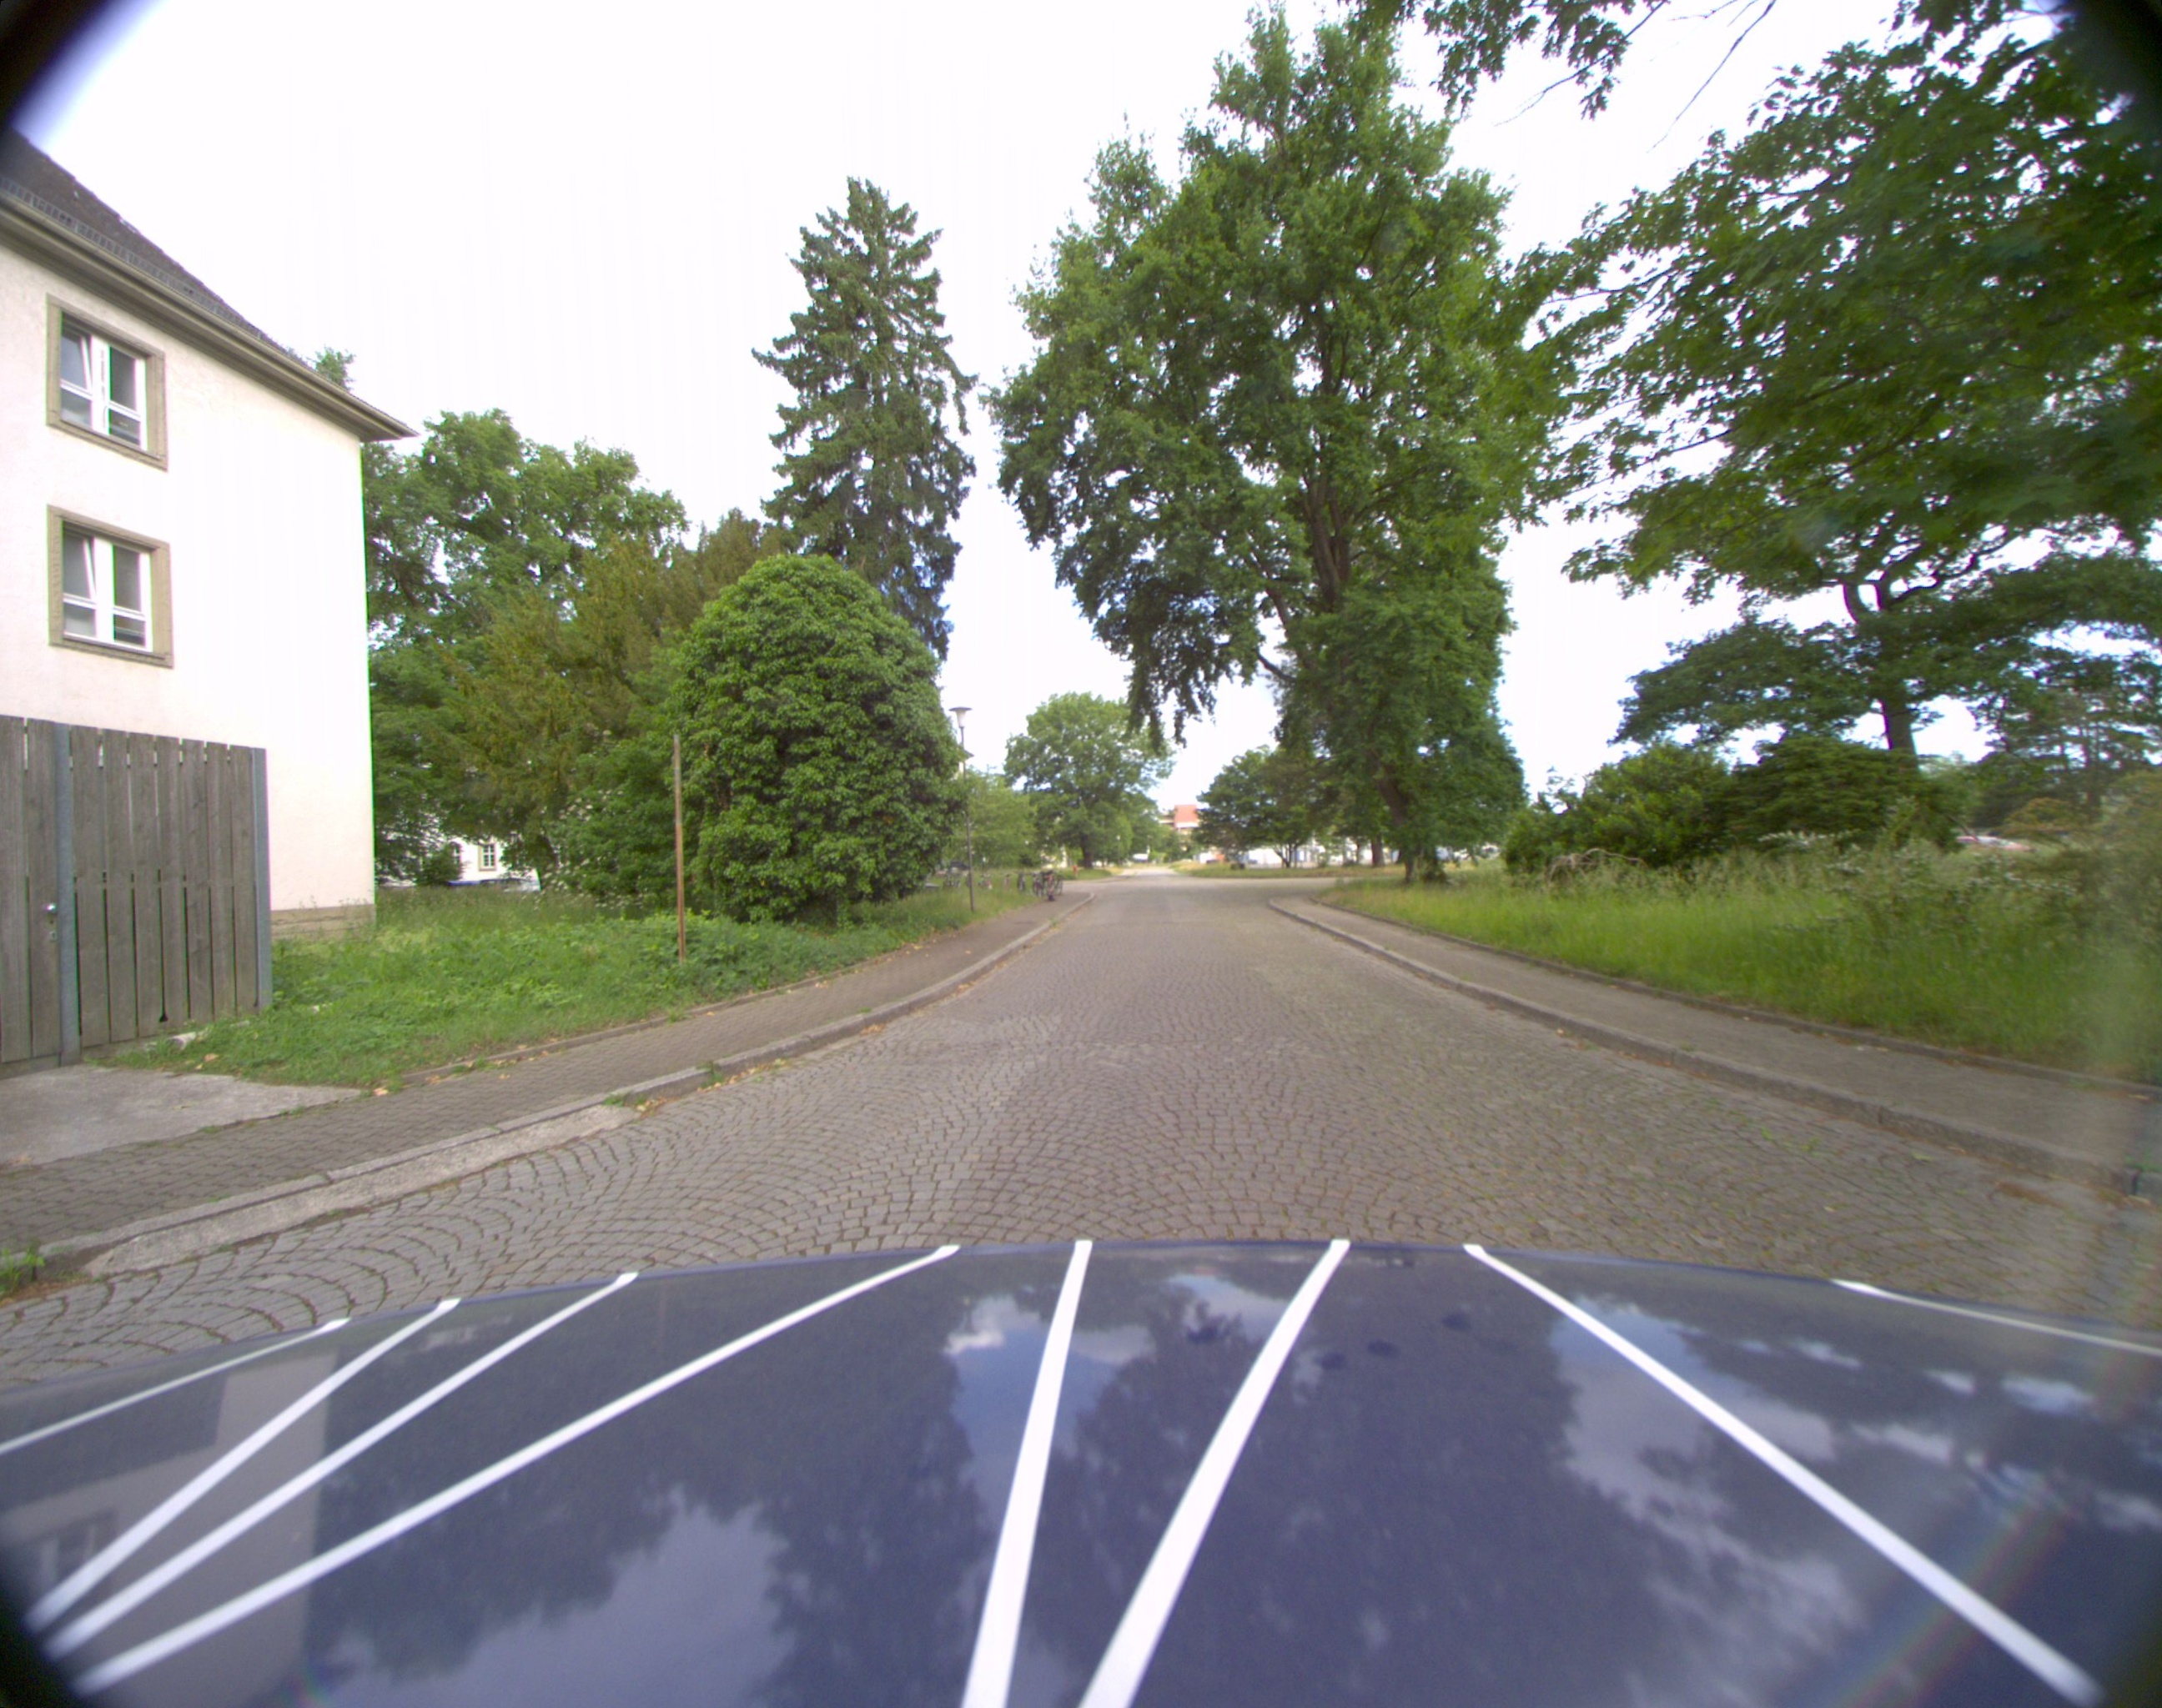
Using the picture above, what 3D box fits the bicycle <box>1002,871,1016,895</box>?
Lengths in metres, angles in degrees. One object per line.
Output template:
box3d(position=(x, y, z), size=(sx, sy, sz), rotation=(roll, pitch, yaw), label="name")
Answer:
box3d(position=(-3.285, 1.313, 34.597), size=(0.478, 1.002, 1.665), rotation=(-2, 1, -11), label="bicycle")

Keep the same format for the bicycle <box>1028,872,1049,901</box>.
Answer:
box3d(position=(-1.751, 1.306, 31.211), size=(0.551, 1.108, 1.768), rotation=(-2, 0, -12), label="bicycle")

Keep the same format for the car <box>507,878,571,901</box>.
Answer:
box3d(position=(-32.716, 2.119, 45.965), size=(1.295, 1.210, 3.250), rotation=(-2, 0, 5), label="car")

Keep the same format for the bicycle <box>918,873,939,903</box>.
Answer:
box3d(position=(-6.260, 1.377, 31.170), size=(0.551, 1.164, 1.754), rotation=(-2, 0, -3), label="bicycle")

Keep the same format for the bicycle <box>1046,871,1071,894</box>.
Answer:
box3d(position=(-1.044, 1.297, 35.000), size=(0.478, 1.002, 1.619), rotation=(-3, 2, -25), label="bicycle")

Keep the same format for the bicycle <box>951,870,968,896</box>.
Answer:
box3d(position=(-5.488, 1.308, 34.282), size=(0.478, 1.105, 1.763), rotation=(-2, 0, -16), label="bicycle")

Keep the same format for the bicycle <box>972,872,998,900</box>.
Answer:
box3d(position=(-3.905, 1.294, 30.809), size=(0.619, 1.059, 1.823), rotation=(-2, 0, -20), label="bicycle")

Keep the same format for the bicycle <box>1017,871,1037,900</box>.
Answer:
box3d(position=(-2.221, 1.282, 31.048), size=(0.551, 1.108, 1.803), rotation=(-2, 0, -12), label="bicycle")

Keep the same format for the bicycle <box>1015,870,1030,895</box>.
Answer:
box3d(position=(-2.665, 1.290, 34.651), size=(0.478, 1.002, 1.665), rotation=(-2, 1, -11), label="bicycle")

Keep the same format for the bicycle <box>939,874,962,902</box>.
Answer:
box3d(position=(-5.239, 1.338, 30.445), size=(0.552, 1.059, 1.751), rotation=(-2, 0, -20), label="bicycle")

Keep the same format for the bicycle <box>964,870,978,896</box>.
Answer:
box3d(position=(-4.960, 1.286, 34.191), size=(0.478, 1.105, 1.764), rotation=(-2, 0, -11), label="bicycle")

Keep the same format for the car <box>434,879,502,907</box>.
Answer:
box3d(position=(-38.118, 2.408, 47.330), size=(1.383, 1.555, 3.250), rotation=(-2, 0, 5), label="car")

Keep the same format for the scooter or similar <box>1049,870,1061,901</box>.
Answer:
box3d(position=(-1.034, 1.229, 29.906), size=(0.357, 1.202, 1.137), rotation=(-2, 0, 1), label="scooter or similar")

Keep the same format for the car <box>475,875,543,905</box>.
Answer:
box3d(position=(-34.941, 2.197, 46.511), size=(1.438, 1.651, 3.250), rotation=(-2, 0, 5), label="car")

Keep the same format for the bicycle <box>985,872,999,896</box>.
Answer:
box3d(position=(-4.061, 1.342, 34.584), size=(0.478, 1.002, 1.665), rotation=(-2, 1, -11), label="bicycle")

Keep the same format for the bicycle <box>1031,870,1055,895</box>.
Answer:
box3d(position=(-1.747, 1.302, 35.092), size=(0.478, 1.068, 1.619), rotation=(-3, 2, -25), label="bicycle")

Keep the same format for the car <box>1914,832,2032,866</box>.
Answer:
box3d(position=(42.587, -0.188, 36.407), size=(1.600, 1.473, 3.502), rotation=(-2, -2, 4), label="car")
